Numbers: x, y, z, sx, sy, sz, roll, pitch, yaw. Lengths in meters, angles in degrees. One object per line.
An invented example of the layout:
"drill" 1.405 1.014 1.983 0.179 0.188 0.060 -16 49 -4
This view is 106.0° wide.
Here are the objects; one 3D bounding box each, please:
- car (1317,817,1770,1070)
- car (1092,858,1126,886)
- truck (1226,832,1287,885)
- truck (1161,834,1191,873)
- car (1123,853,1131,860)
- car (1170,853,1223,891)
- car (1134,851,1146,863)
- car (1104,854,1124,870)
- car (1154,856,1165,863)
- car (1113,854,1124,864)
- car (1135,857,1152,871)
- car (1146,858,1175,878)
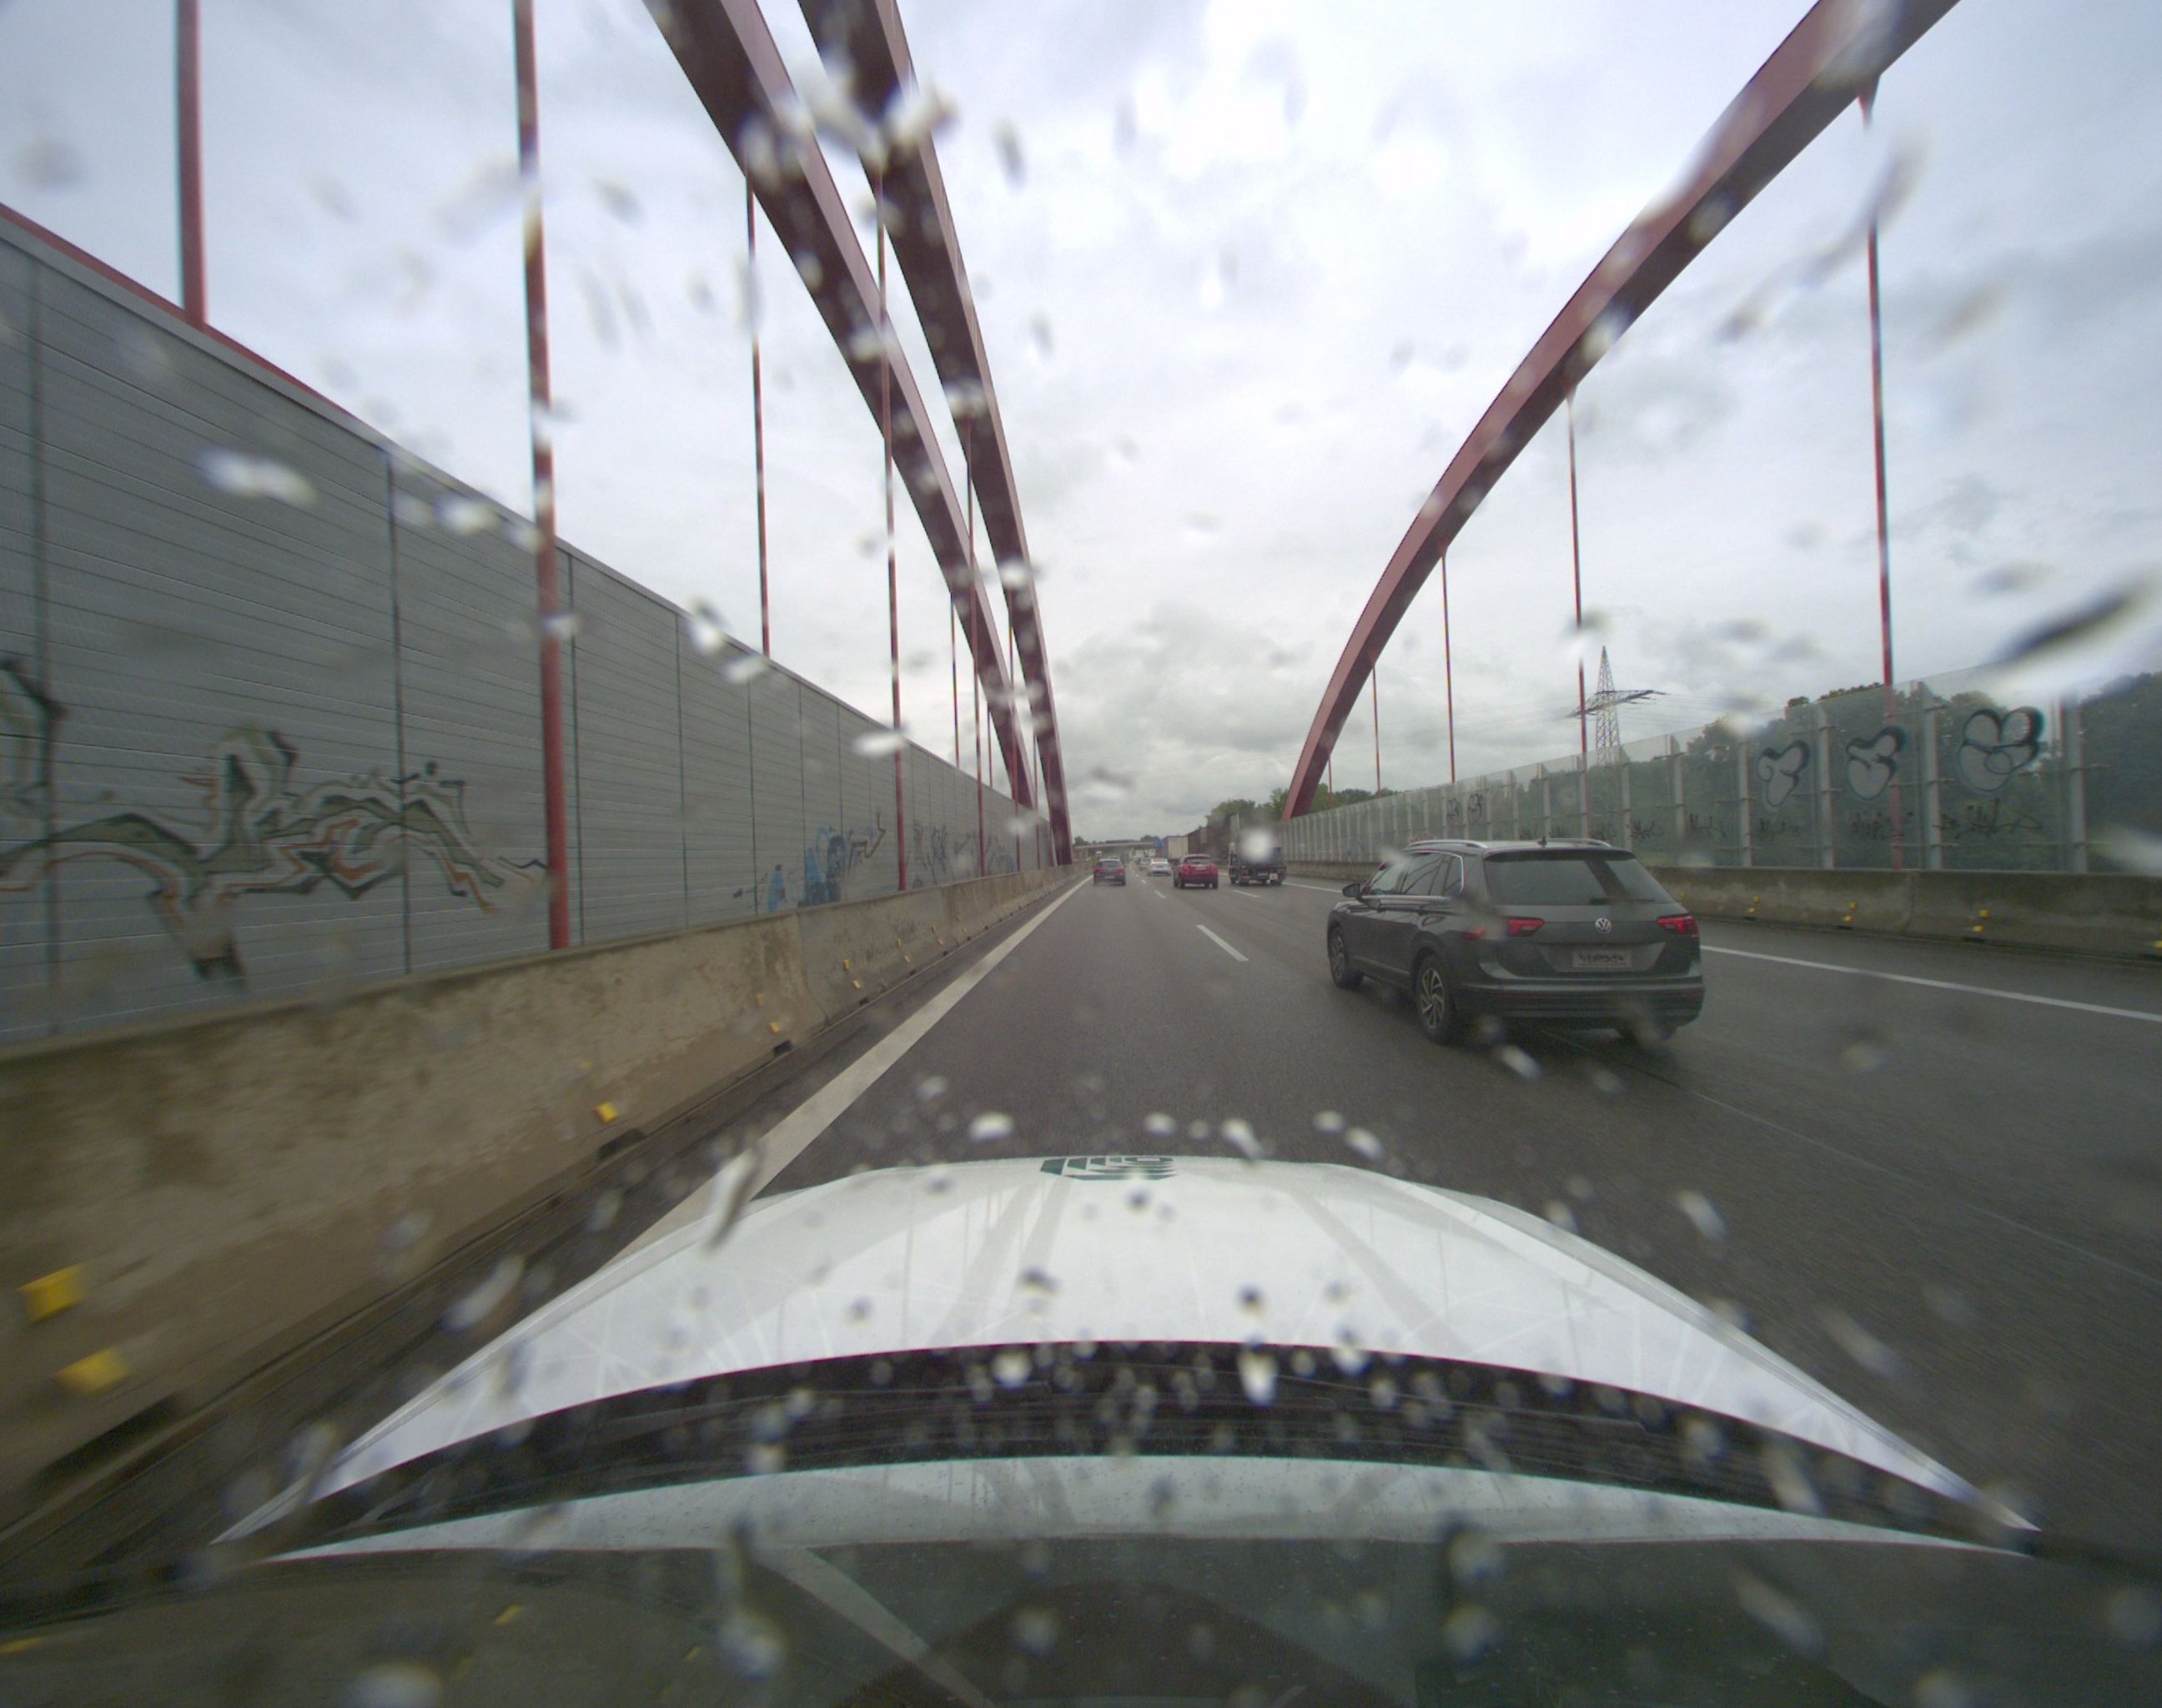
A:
"car" 3.708 0.611 7.536 1.905 1.670 4.105 -1 0 1
"car" 1.520 0.939 44.562 1.757 1.453 4.001 -1 0 2
"truck" 9.038 0.221 42.428 2.350 2.506 6.153 -1 0 5
"truck" 11.808 -0.016 101.534 3.033 4.734 7.682 0 0 1
"car" 10.645 0.598 188.557 1.985 1.624 4.004 -1 0 3
"car" 5.480 0.805 38.971 1.950 1.647 4.000 -3 0 1
"car" 10.789 0.548 148.813 1.986 2.014 4.001 0 0 1
"car" 3.540 0.862 89.000 1.987 1.585 4.000 -2 0 0
"car" 15.919 1.110 164.569 1.985 1.519 4.003 -1 0 2
"car" 7.206 0.903 155.705 1.986 1.815 4.001 -1 0 1
"car" 7.118 1.176 93.272 1.696 1.543 3.838 -1 0 0
"car" 6.428 1.114 66.007 1.987 1.486 4.000 -1 0 1
